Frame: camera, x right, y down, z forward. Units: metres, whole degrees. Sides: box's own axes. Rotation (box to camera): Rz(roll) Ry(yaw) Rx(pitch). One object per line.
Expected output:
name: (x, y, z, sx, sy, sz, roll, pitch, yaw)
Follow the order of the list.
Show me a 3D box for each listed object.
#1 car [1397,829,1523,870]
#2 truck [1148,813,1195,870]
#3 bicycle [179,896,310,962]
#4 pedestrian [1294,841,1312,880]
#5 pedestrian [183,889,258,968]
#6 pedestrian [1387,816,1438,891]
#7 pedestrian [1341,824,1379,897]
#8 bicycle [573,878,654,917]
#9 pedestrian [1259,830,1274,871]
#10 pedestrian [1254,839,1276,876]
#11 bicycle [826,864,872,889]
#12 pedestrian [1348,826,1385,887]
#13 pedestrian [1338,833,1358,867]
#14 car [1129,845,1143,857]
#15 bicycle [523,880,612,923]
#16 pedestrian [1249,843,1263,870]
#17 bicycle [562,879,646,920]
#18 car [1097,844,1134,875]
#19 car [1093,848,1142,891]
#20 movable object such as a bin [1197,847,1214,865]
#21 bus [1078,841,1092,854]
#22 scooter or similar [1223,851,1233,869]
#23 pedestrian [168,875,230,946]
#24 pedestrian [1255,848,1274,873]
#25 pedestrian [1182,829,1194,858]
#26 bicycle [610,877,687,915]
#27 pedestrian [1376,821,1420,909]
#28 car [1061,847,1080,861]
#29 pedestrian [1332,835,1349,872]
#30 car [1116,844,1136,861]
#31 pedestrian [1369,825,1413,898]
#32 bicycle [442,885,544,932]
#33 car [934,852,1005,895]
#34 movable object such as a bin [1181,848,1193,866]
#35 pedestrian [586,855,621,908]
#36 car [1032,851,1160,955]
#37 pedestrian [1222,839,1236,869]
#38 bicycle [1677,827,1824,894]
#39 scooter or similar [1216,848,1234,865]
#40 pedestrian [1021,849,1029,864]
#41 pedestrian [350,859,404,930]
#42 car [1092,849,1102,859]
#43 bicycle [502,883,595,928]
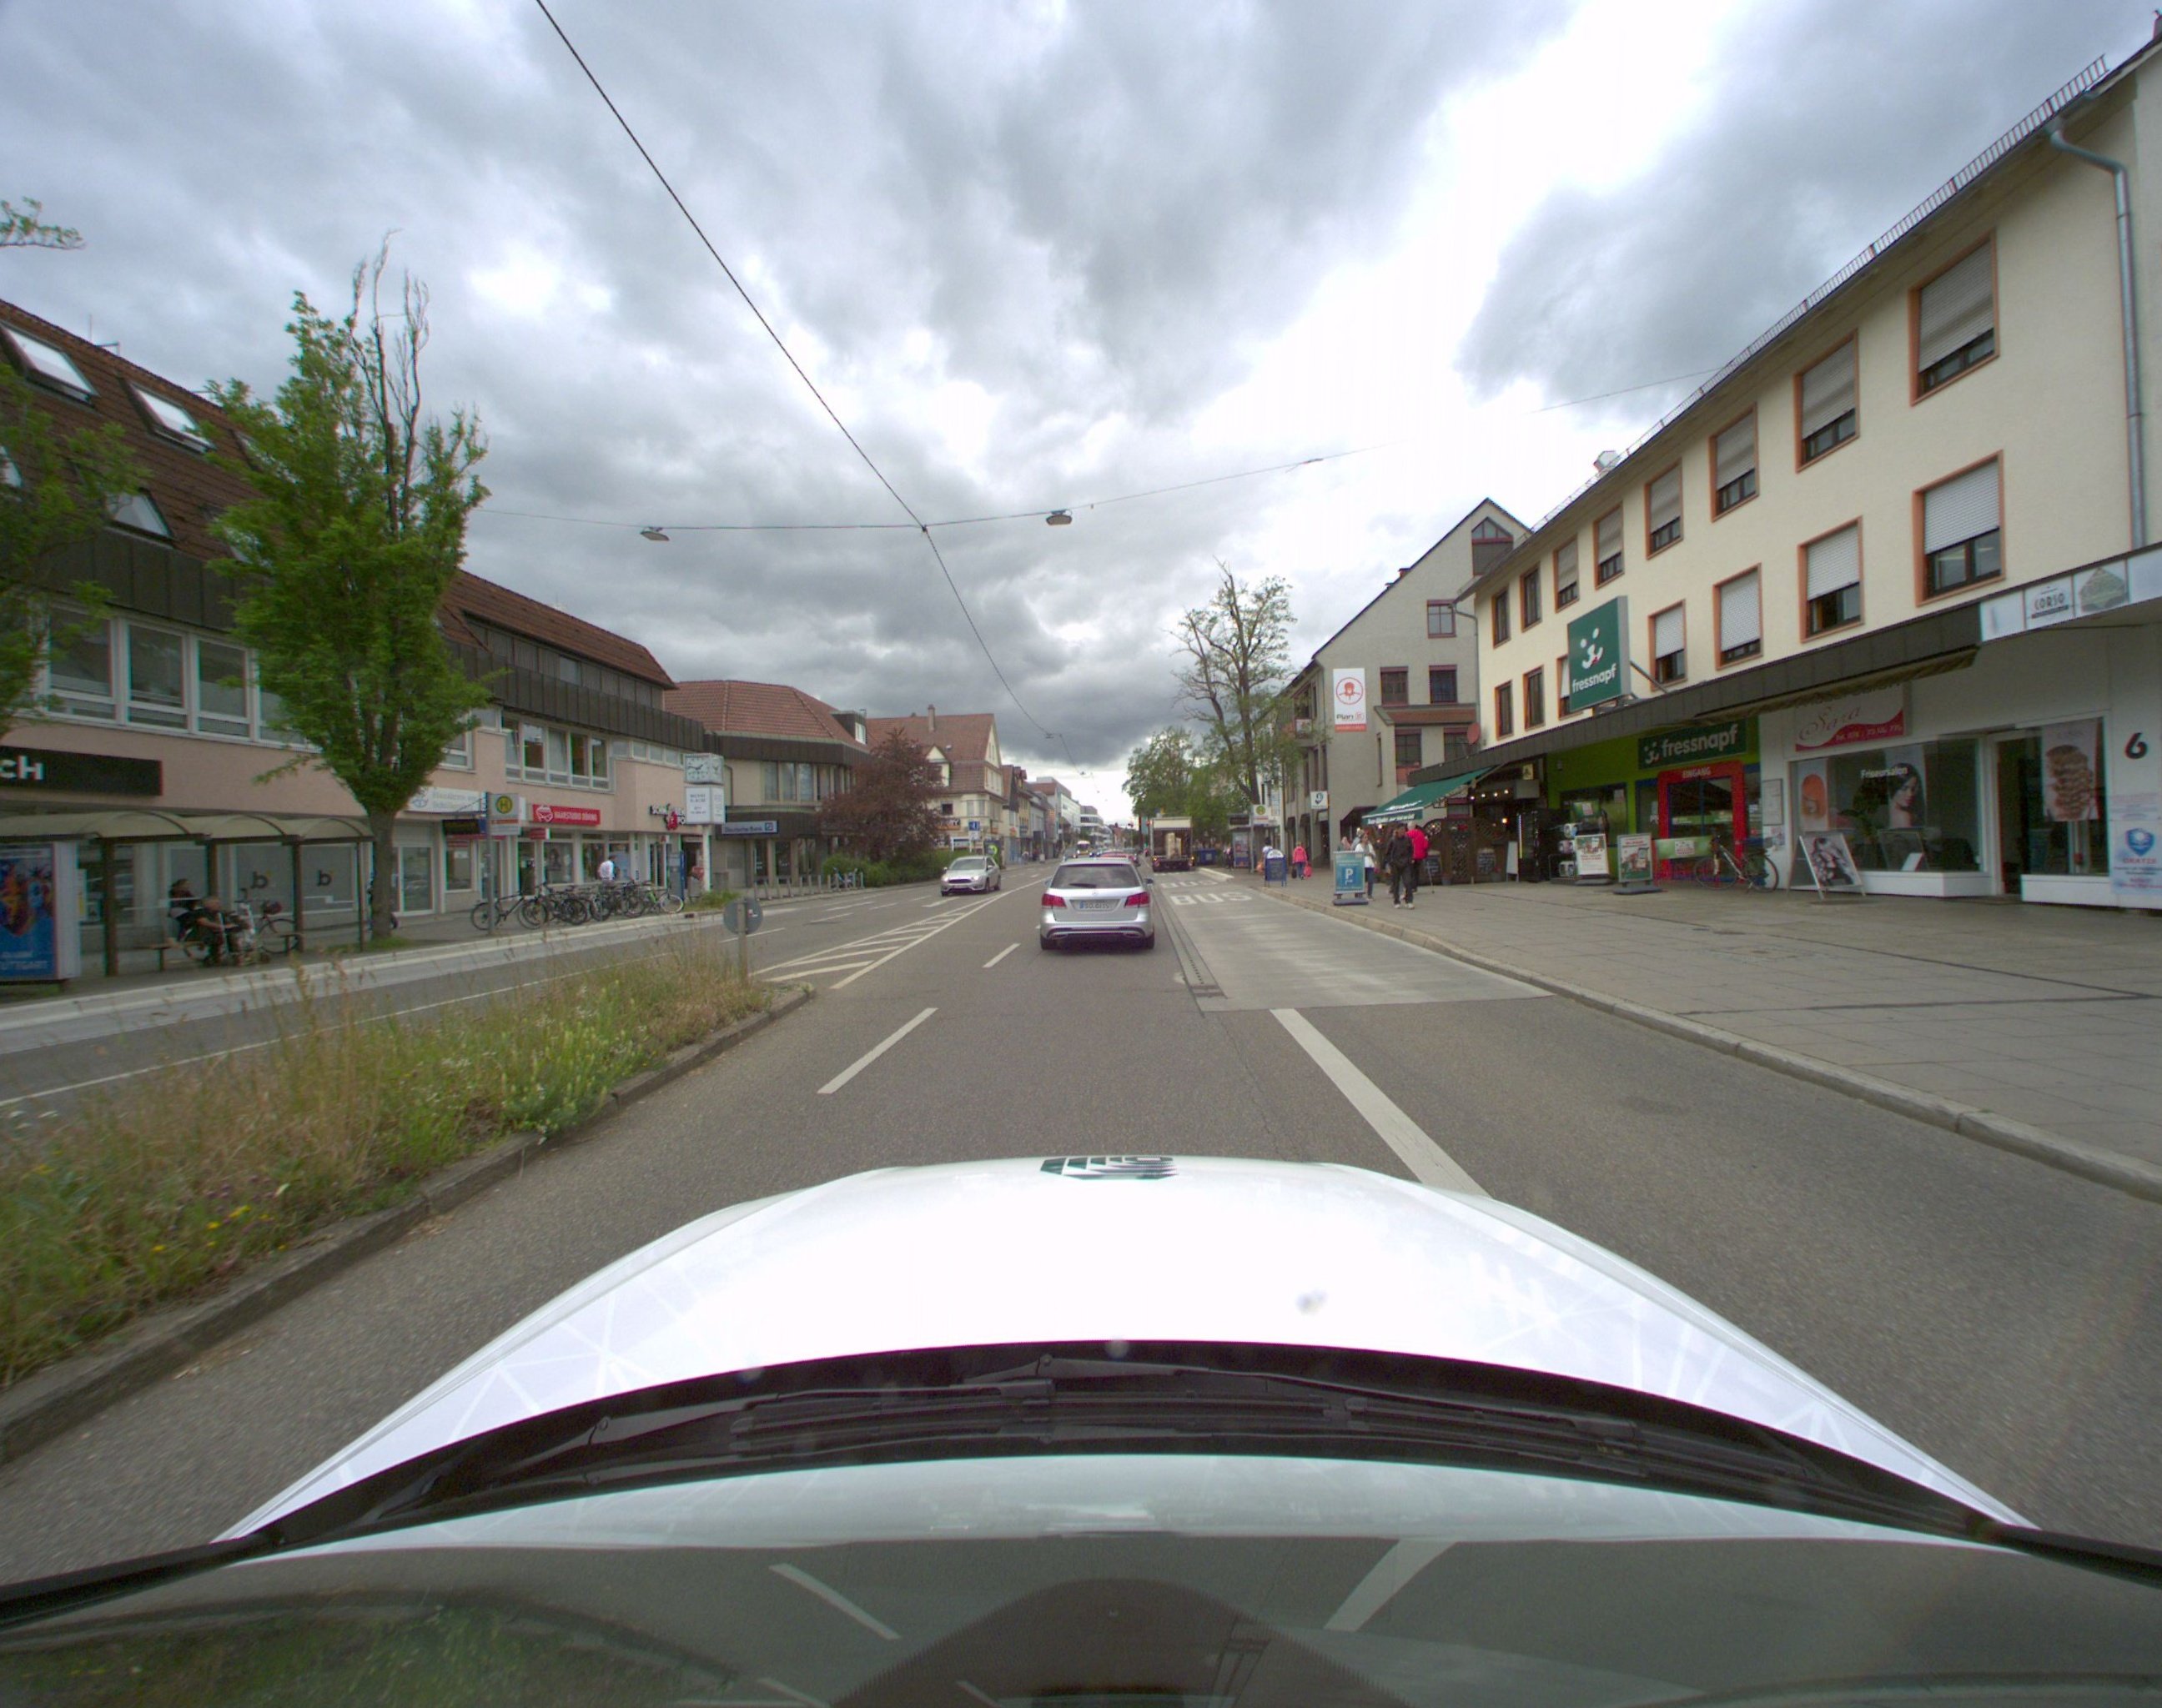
car: (16.304, -0.189, 35.258, 4.579, 1.619, 1.884, -1, 0, 7)
truck: (6.133, -0.850, 56.655, 2.677, 3.561, 9.776, -2, 0, 4)
bicycle: (-16.441, 1.442, 16.088, 0.531, 1.090, 1.931, -1, 0, 2)
pedestrian: (9.021, 0.242, 33.095, 0.666, 1.567, 0.494, 0, 2, 23)
pedestrian: (-15.699, 1.352, 14.877, 0.708, 1.364, 0.589, -1, 1, 5)
pedestrian: (8.042, -0.008, 19.807, 0.793, 1.742, 0.781, -4, -1, -2)
pedestrian: (6.429, 0.152, 18.779, 0.610, 1.634, 0.615, -3, -1, 1)
bicycle: (-14.292, 1.316, 24.923, 2.015, 1.090, 0.647, -2, 0, -7)
pedestrian: (9.459, -0.191, 41.537, 0.608, 2.047, 0.590, -4, -1, 17)
pedestrian: (8.314, 0.167, 36.798, 0.615, 1.634, 0.789, -2, 1, -19)
bicycle: (-11.136, 1.088, 39.146, 2.015, 1.090, 0.647, -2, 0, -7)
pedestrian: (8.401, 0.079, 24.005, 0.680, 1.742, 0.781, -4, -1, -2)
pedestrian: (13.249, -0.214, 40.437, 0.724, 1.634, 0.614, -2, 0, -5)
car: (8.199, -0.489, 121.023, 1.984, 1.684, 4.005, -2, 0, 4)
bicycle: (-14.503, 1.339, 23.027, 2.015, 1.090, 0.647, -2, 0, -7)
pedestrian: (9.155, 0.136, 42.597, 0.608, 1.401, 0.590, -4, -1, 17)
bicycle: (-14.155, 1.348, 24.220, 2.015, 1.090, 0.647, -2, 0, -7)
car: (2.062, 0.317, 47.865, 1.984, 1.684, 4.005, -2, 0, 4)
car: (1.470, 0.612, 31.914, 1.746, 1.521, 4.004, -2, -2, 4)
movable object such as a bin: (9.582, 0.135, 62.768, 1.138, 1.339, 1.378, -2, 0, 5)
bus: (0.952, -1.567, 198.141, 2.763, 3.165, 5.940, -2, 0, 4)
scooter or similar: (8.098, 0.351, 44.861, 0.387, 0.959, 0.351, -2, 0, -38)
pedestrian: (-19.975, 1.270, 18.446, 0.709, 1.547, 0.588, -1, 1, 2)
pedestrian: (8.799, 0.310, 39.052, 0.710, 1.166, 0.587, -1, 1, -3)
pedestrian: (6.683, -0.666, 50.951, 0.611, 1.780, 0.588, -2, -1, 0)
bicycle: (-13.678, 1.309, 25.783, 2.015, 1.090, 0.647, -2, 0, -7)
pedestrian: (6.266, 0.206, 16.104, 0.609, 1.678, 0.616, -2, 0, 6)
car: (-1.406, -0.021, 113.140, 2.059, 1.738, 4.700, -4, 0, 5)
pedestrian: (11.648, -0.012, 36.593, 0.583, 1.634, 0.616, -2, 0, 5)
car: (4.753, -0.185, 85.820, 1.984, 1.684, 4.005, -2, 0, 4)
pedestrian: (7.161, 0.164, 18.814, 0.716, 1.634, 0.615, -3, -1, 1)
bicycle: (-15.181, 1.401, 21.076, 2.018, 1.090, 0.647, -1, 0, -11)
car: (-4.346, 0.721, 32.341, 1.866, 1.506, 4.348, -3, 0, 4)
movable object such as a bin: (8.184, 0.194, 63.056, 0.877, 1.339, 1.087, -2, 0, 5)
pedestrian: (-16.382, 0.945, 27.955, 0.723, 1.764, 0.756, 1, 1, 1)
car: (0.287, 0.717, 14.043, 1.867, 1.506, 4.002, -1, 0, 2)
pedestrian: (8.218, -0.004, 45.249, 0.536, 1.634, 0.584, 1, 1, -21)
bicycle: (11.964, 0.098, 14.679, 0.738, 1.062, 2.352, -3, 0, 2)
scooter or similar: (10.507, 0.182, 59.527, 1.174, 1.196, 0.459, -2, 0, -6)
pedestrian: (-6.398, 0.271, 93.035, 0.814, 1.634, 0.980, 0, 0, -2)
pedestrian: (-18.259, 1.039, 21.133, 0.723, 1.764, 0.756, 1, 1, 1)
car: (2.490, 0.054, 129.866, 1.564, 1.540, 2.961, 0, 0, 1)
bicycle: (-14.330, 1.375, 21.962, 2.012, 1.090, 0.649, -2, 0, -2)
